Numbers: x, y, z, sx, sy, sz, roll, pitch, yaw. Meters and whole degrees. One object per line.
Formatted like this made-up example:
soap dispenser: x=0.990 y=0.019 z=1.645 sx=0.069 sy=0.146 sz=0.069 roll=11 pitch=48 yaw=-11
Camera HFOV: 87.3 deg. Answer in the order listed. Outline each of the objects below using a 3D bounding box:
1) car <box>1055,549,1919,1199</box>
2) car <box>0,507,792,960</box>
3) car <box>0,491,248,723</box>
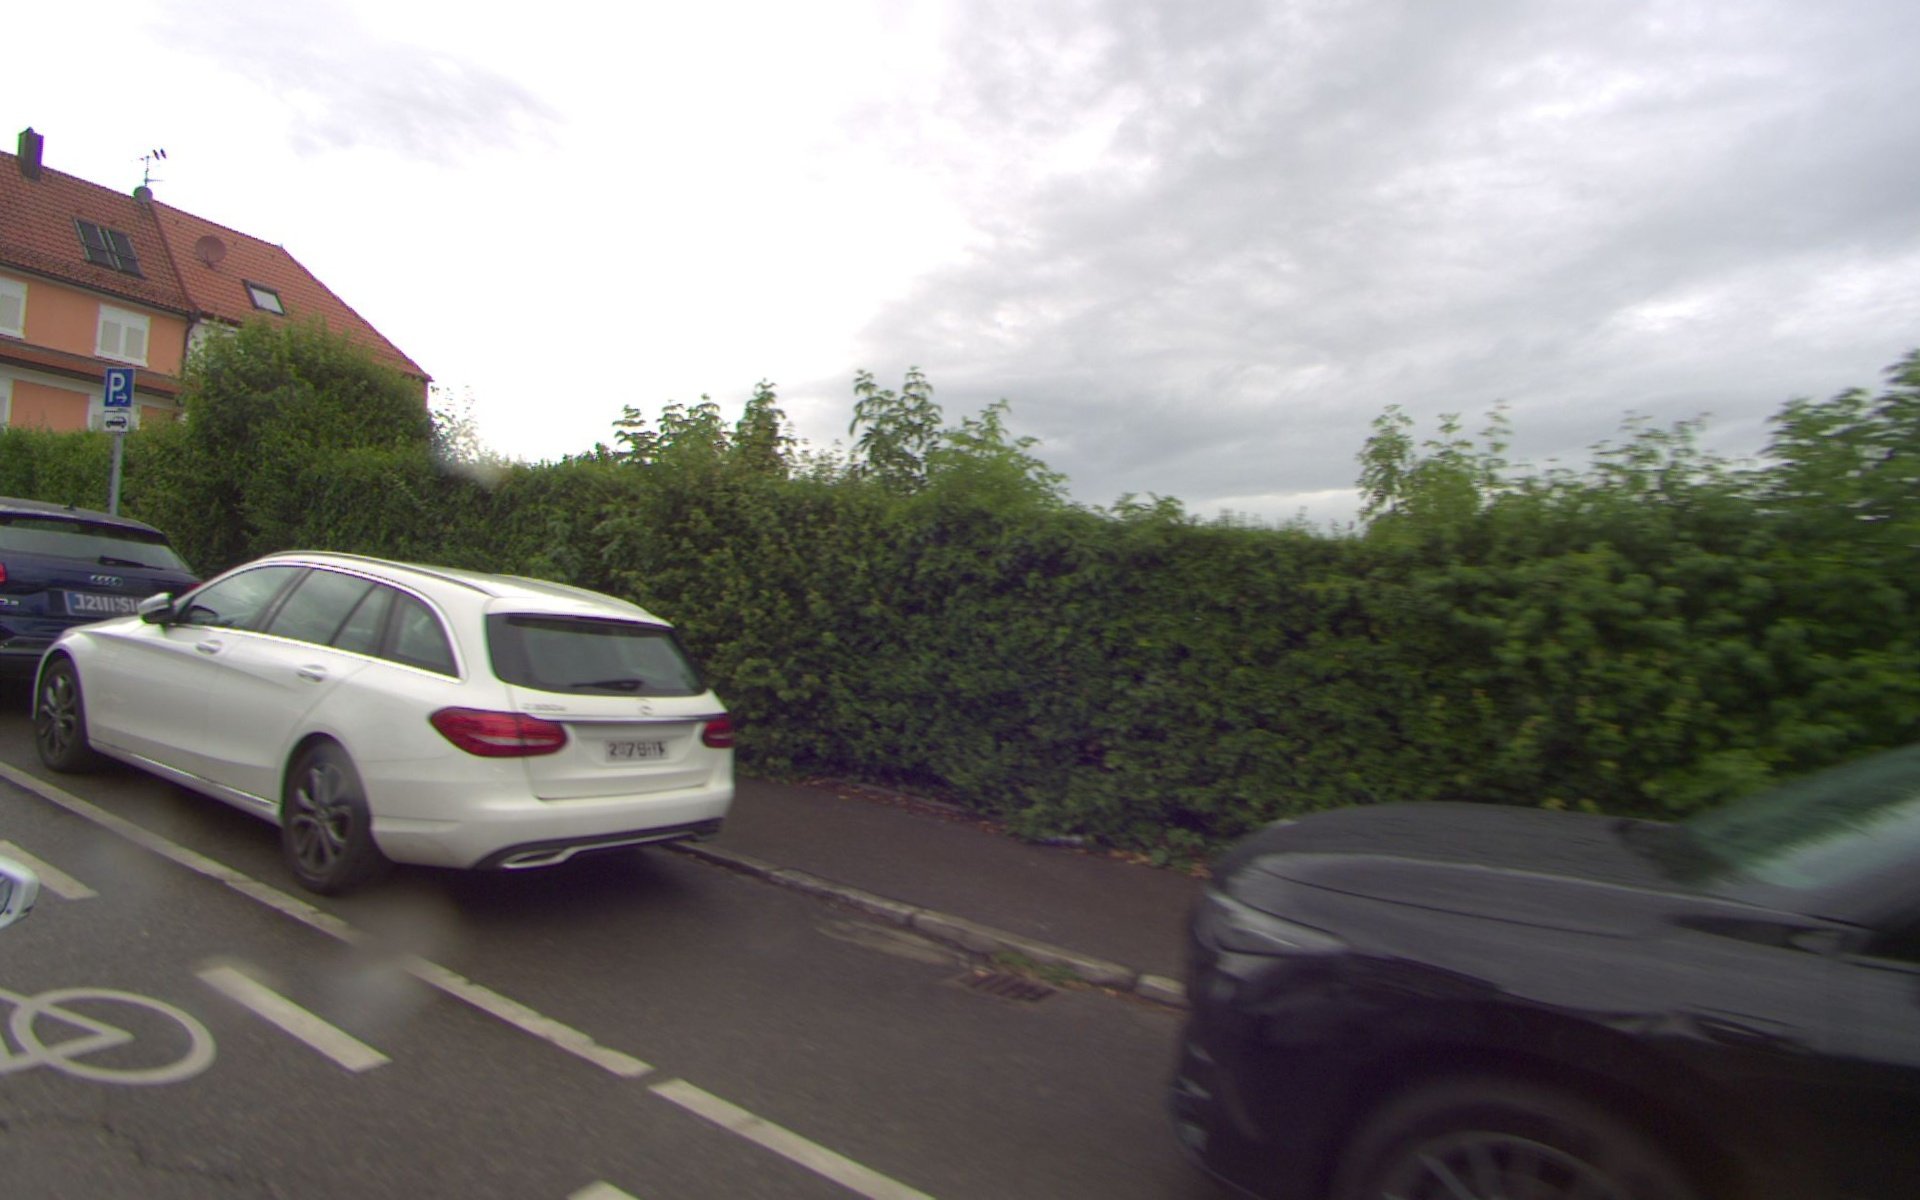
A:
car: x=2.702 y=1.037 z=2.148 sx=4.470 sy=1.682 sz=1.892 roll=7 pitch=-2 yaw=29
car: x=-3.326 y=0.470 z=5.612 sx=4.529 sy=1.422 sz=1.717 roll=7 pitch=-1 yaw=30
car: x=-7.924 y=-0.090 z=8.262 sx=4.135 sy=1.548 sz=1.757 roll=6 pitch=-1 yaw=31
